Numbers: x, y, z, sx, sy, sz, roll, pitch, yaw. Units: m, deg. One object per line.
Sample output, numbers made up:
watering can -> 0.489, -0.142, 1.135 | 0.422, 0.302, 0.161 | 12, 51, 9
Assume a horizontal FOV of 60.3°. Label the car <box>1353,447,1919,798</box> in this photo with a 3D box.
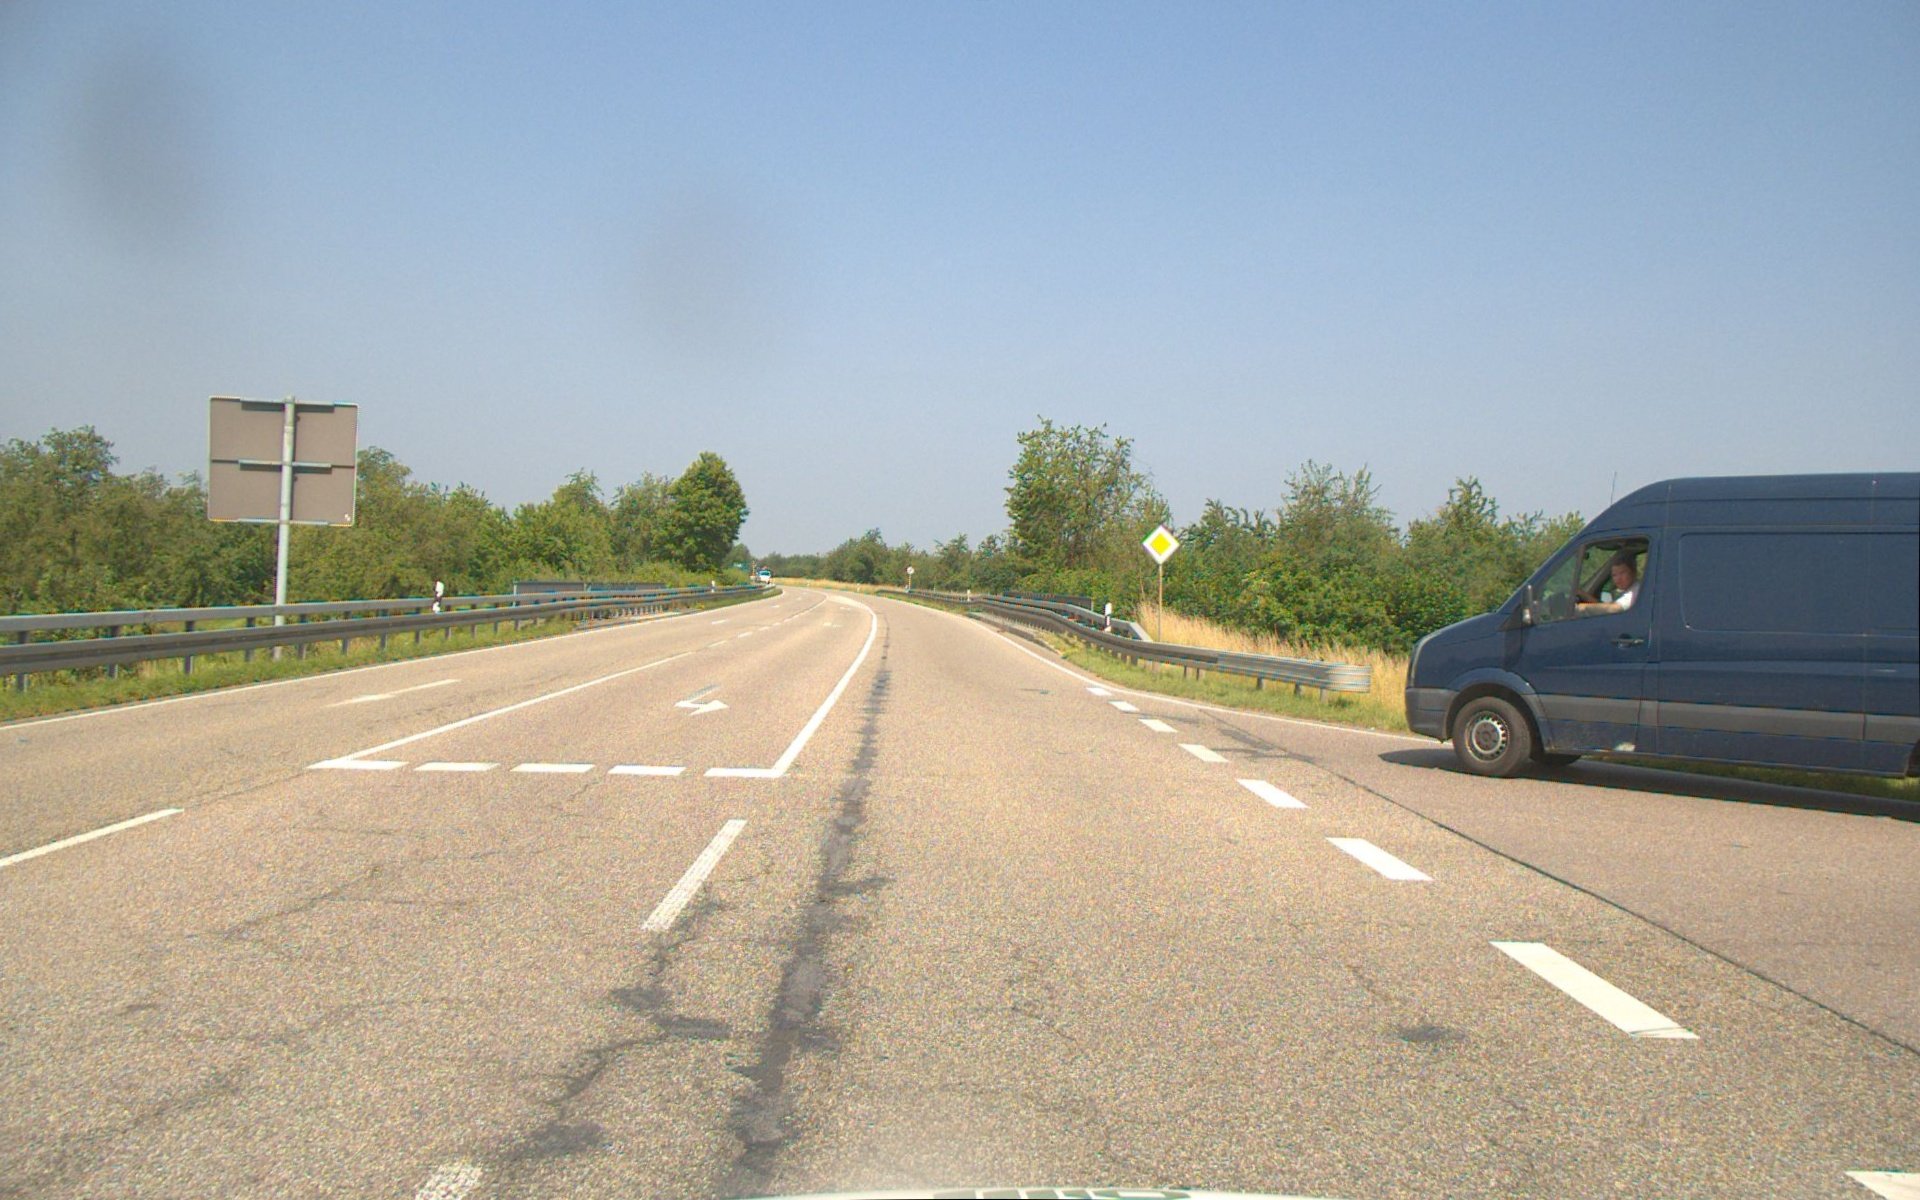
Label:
car -> 6.688, 0.121, 13.972 | 6.188, 2.619, 2.054 | 3, 1, 36
